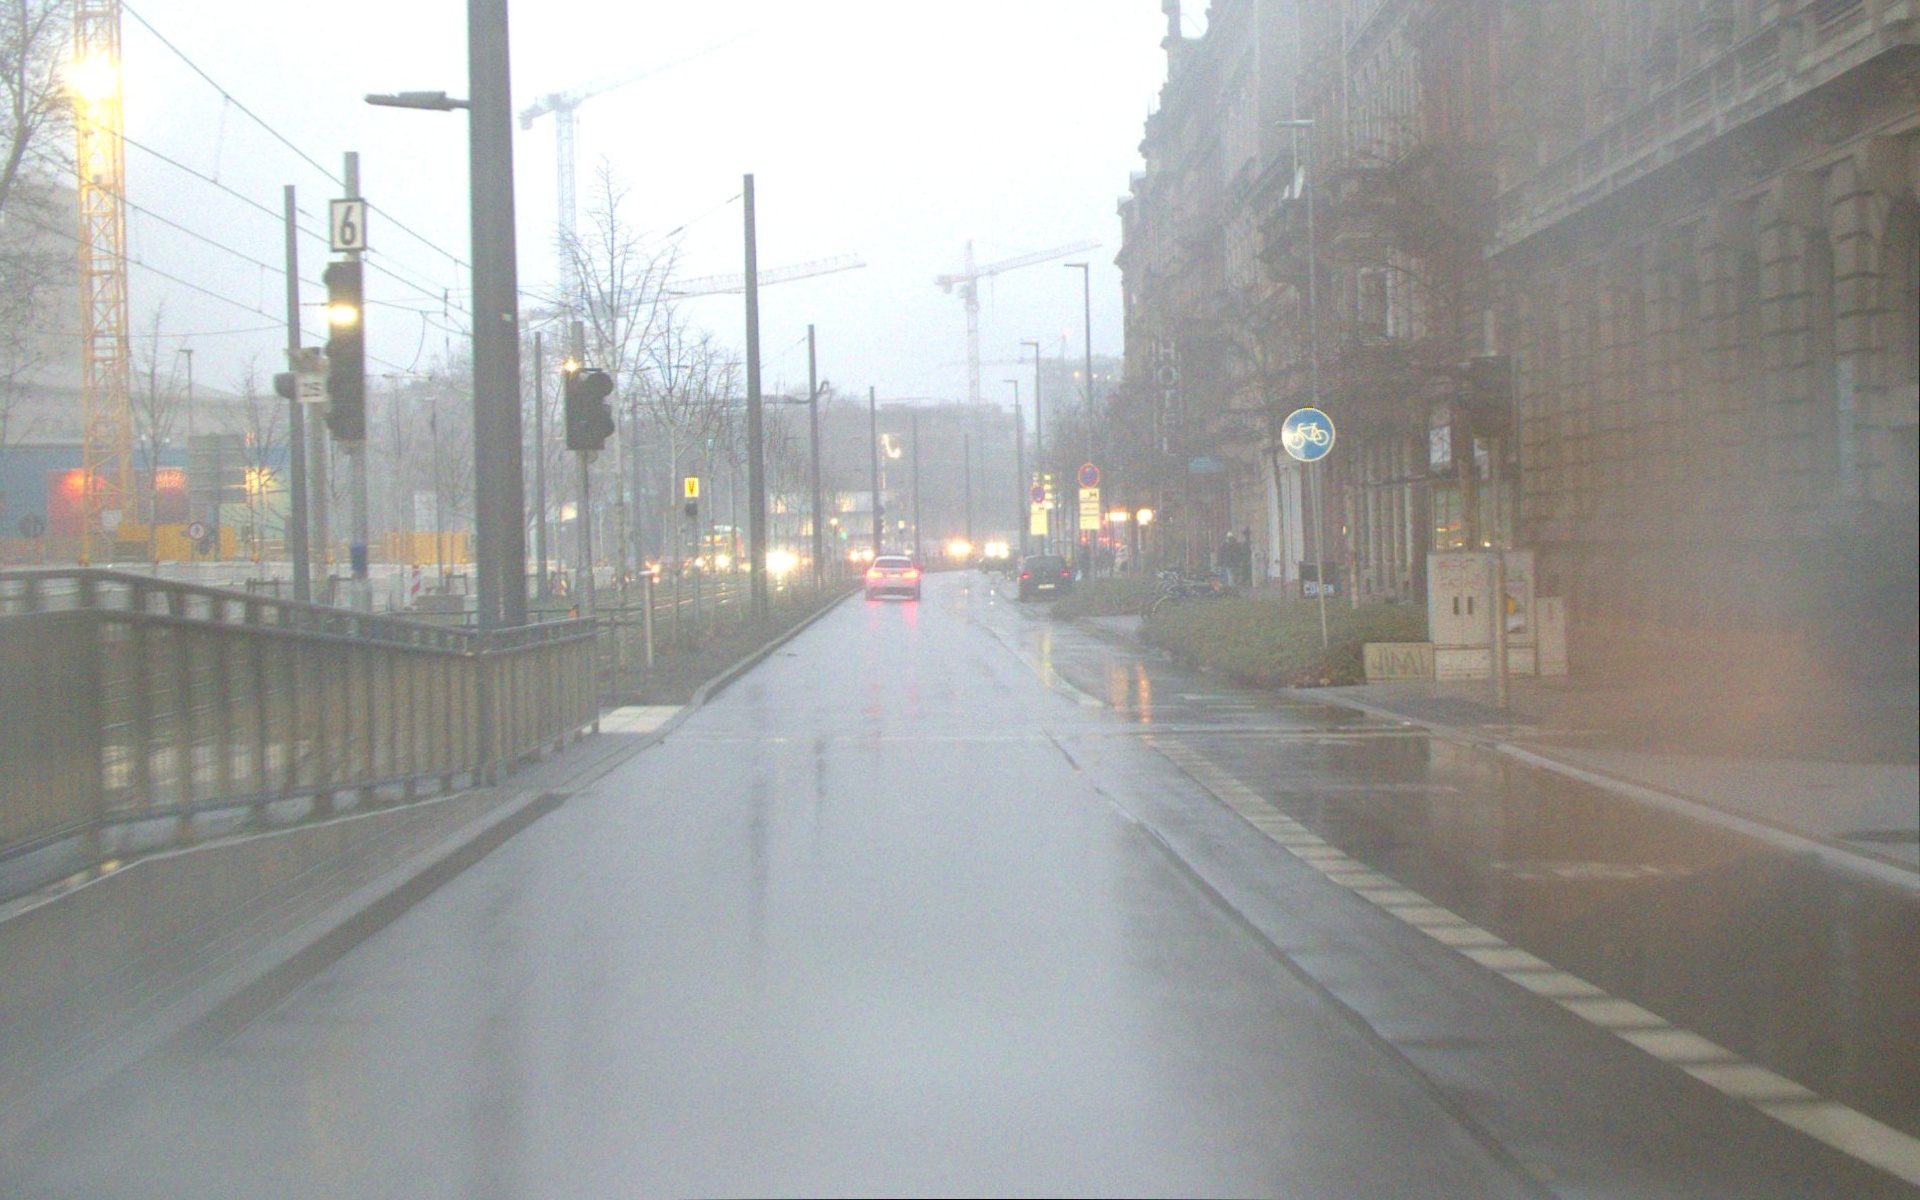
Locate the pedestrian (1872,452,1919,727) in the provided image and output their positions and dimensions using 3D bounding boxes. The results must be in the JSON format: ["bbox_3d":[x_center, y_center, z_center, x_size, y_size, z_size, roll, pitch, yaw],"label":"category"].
[{"bbox_3d":[7.361,-0.086,25.276,0.853,2.007,0.918,-1,1,-30],"label":"pedestrian"}]

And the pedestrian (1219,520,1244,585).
[{"bbox_3d":[7.560,-1.326,95.868,0.603,1.779,0.528,-2,1,0],"label":"pedestrian"}]

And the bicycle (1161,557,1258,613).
[{"bbox_3d":[4.934,-0.297,68.045,1.851,1.054,0.471,-2,1,-3],"label":"bicycle"}]

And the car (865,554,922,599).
[{"bbox_3d":[-2.261,-0.807,117.121,1.784,1.462,3.148,-1,1,1],"label":"car"}]

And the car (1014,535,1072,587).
[{"bbox_3d":[2.681,-1.262,110.684,1.799,1.598,3.770,-2,1,2],"label":"car"}]

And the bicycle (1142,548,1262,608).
[{"bbox_3d":[4.509,-0.414,64.179,2.146,1.053,0.526,-2,1,-6],"label":"bicycle"}]
